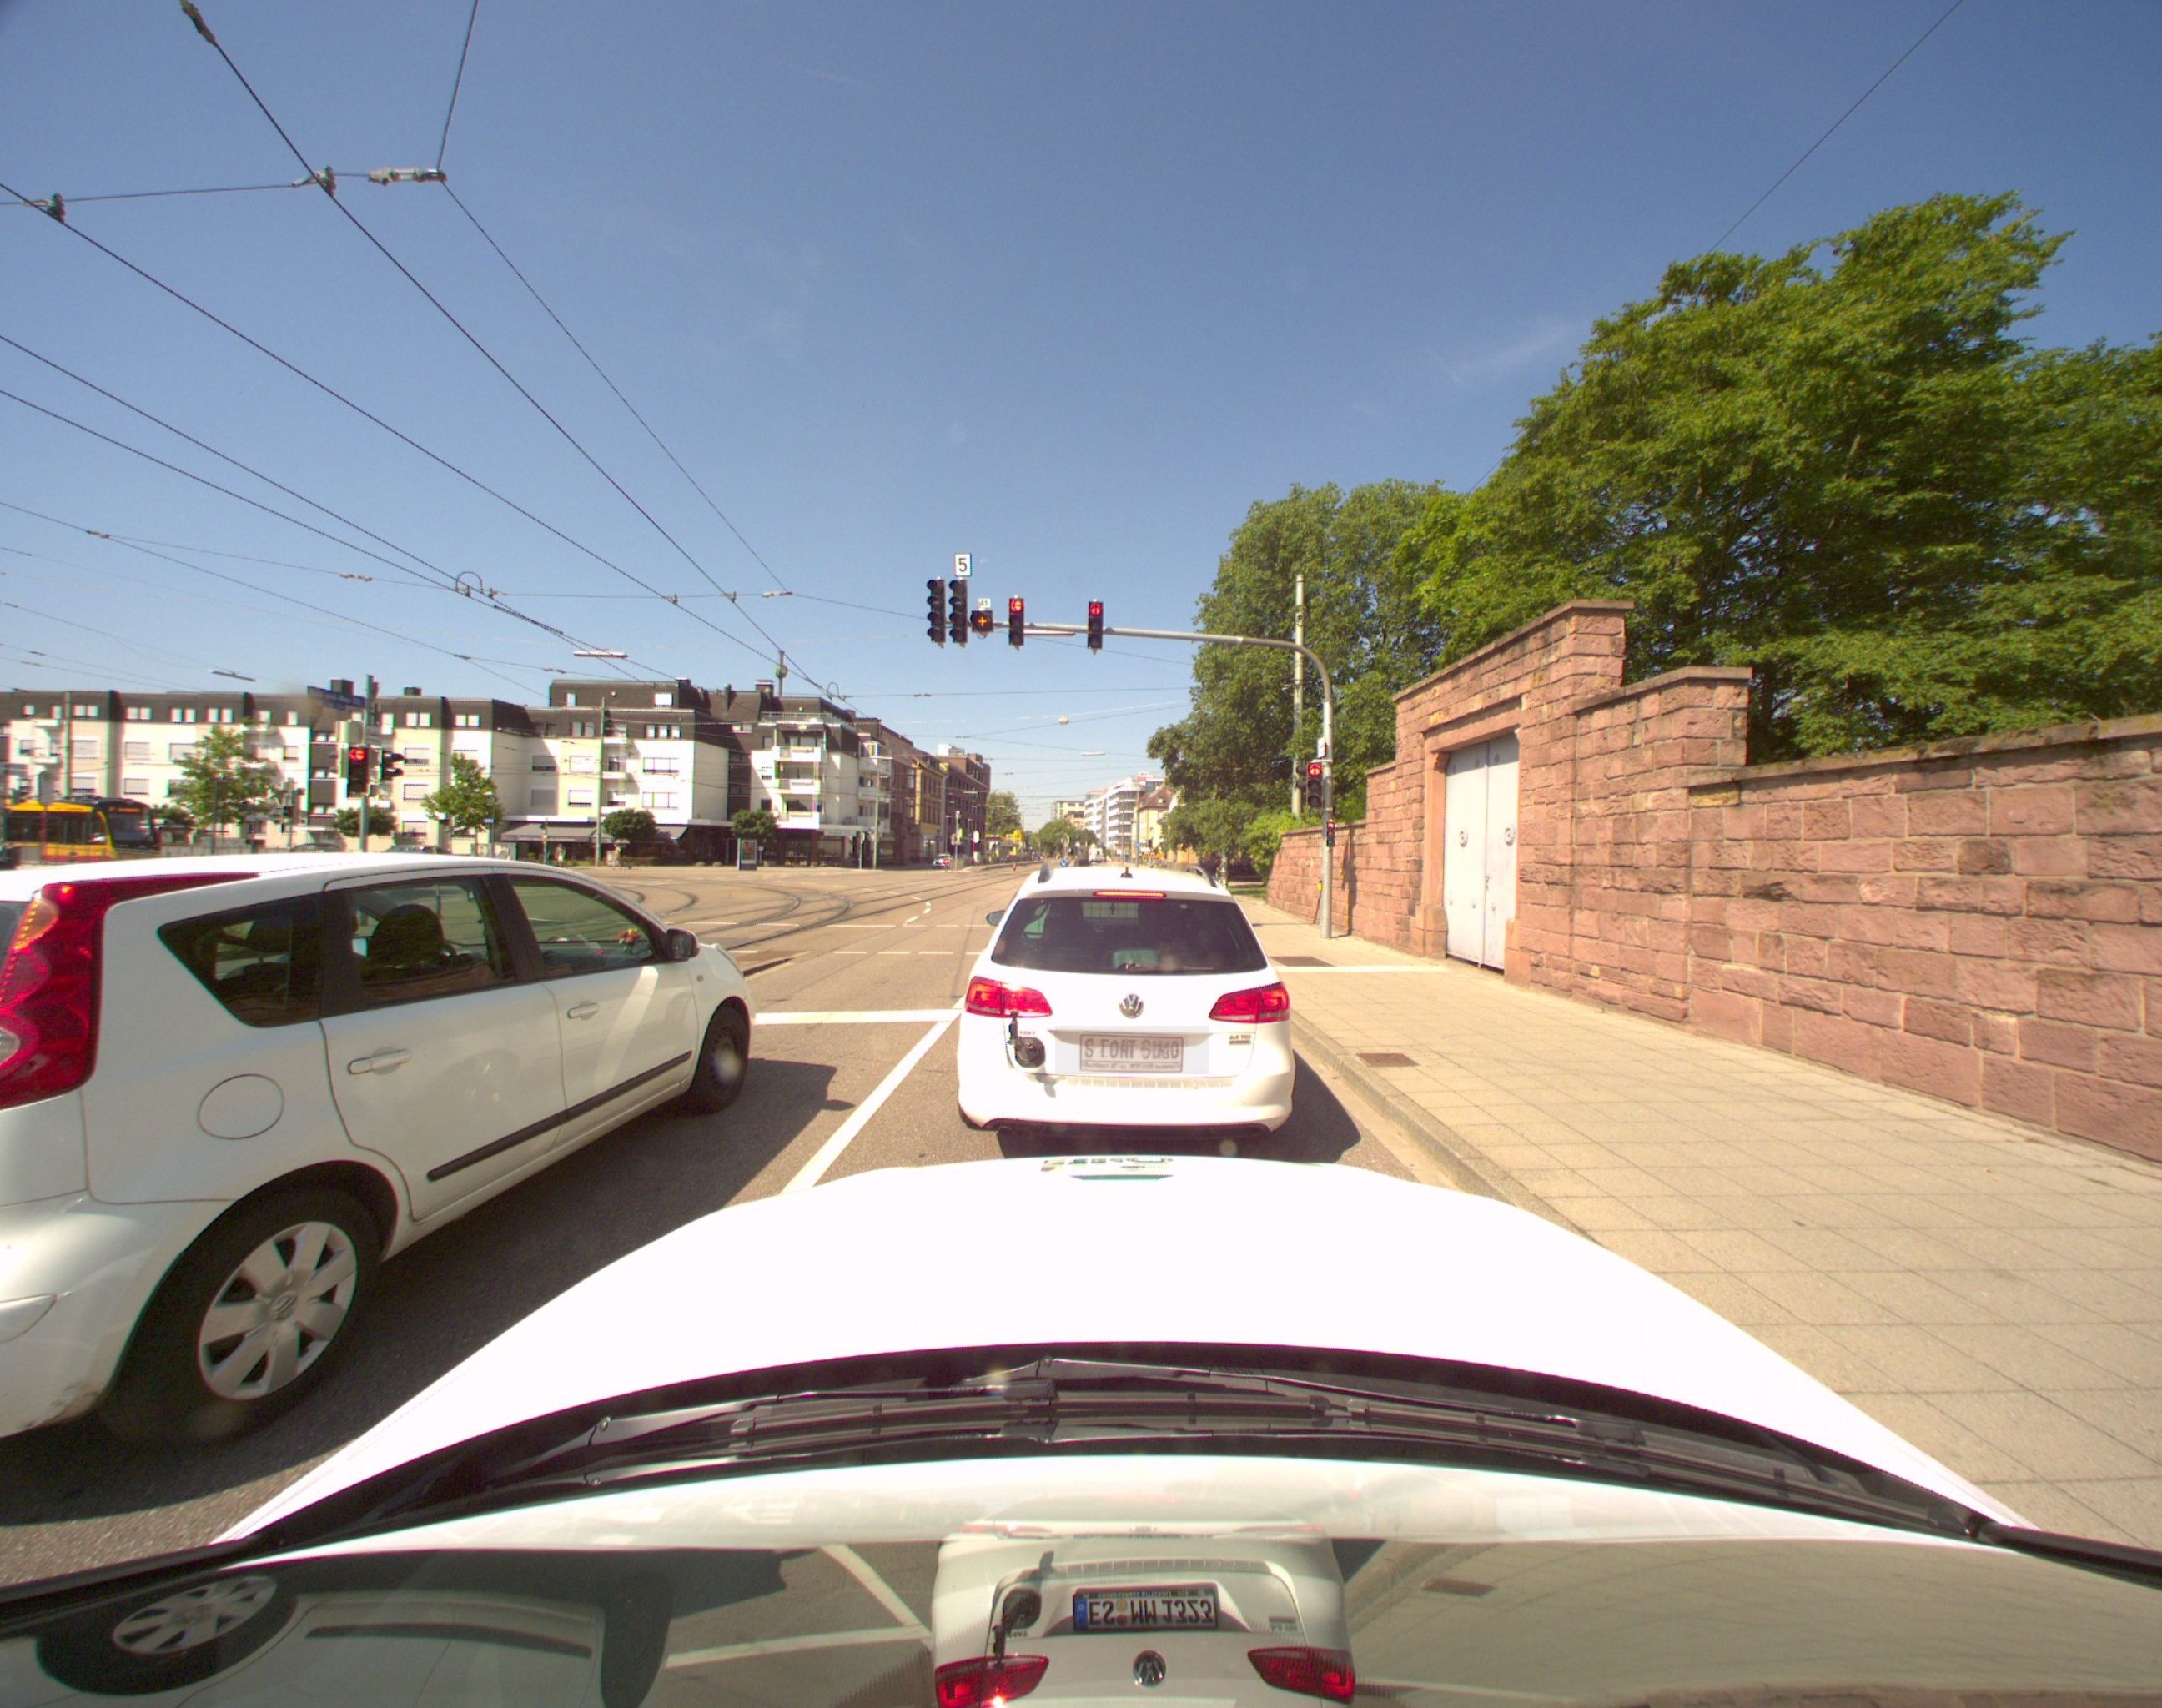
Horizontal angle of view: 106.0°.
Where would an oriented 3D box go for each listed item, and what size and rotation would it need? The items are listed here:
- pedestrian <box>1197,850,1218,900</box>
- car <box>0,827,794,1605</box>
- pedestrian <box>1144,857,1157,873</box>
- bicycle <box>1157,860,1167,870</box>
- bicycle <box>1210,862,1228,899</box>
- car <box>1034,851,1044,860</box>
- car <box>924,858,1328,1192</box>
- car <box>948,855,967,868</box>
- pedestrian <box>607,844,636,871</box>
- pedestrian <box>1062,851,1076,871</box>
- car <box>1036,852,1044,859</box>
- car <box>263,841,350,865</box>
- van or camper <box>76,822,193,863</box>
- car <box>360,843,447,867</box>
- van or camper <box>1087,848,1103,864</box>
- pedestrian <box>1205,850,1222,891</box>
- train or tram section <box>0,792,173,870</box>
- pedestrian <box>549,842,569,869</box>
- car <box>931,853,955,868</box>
[{"bbox_3d":[4.014,0.660,25.825,0.538,1.549,0.663,-1,0,1],"label":"pedestrian"},{"bbox_3d":[-2.956,0.735,3.685,1.759,1.561,4.068,0,0,2],"label":"car"},{"bbox_3d":[6.337,1.005,74.509,0.847,1.510,0.786,1,-1,37],"label":"pedestrian"},{"bbox_3d":[8.967,1.202,90.266,0.720,1.139,2.203,1,0,14],"label":"bicycle"},{"bbox_3d":[4.403,0.828,25.900,0.532,1.111,1.812,0,-1,11],"label":"bicycle"},{"bbox_3d":[-9.886,0.297,192.667,1.987,2.014,3.999,0,-1,0],"label":"car"},{"bbox_3d":[0.260,0.756,5.493,1.746,1.418,3.854,1,0,2],"label":"car"},{"bbox_3d":[-13.373,0.807,88.628,1.568,1.459,3.811,1,0,-2],"label":"car"},{"bbox_3d":[-31.884,0.224,56.480,1.108,1.836,1.448,0,0,39],"label":"pedestrian"},{"bbox_3d":[-1.064,0.604,72.384,0.833,1.809,0.824,1,-1,-37],"label":"pedestrian"},{"bbox_3d":[-11.377,0.370,228.554,1.987,2.014,3.999,0,-1,0],"label":"car"},{"bbox_3d":[-51.210,-0.081,53.923,3.973,1.500,1.828,1,0,0],"label":"car"},{"bbox_3d":[-62.661,-0.753,53.998,4.859,2.624,2.376,1,0,0],"label":"van or camper"},{"bbox_3d":[-44.943,0.066,54.077,4.158,1.500,1.828,1,0,0],"label":"car"},{"bbox_3d":[2.830,0.449,166.144,2.936,3.180,6.609,1,0,-1],"label":"van or camper"},{"bbox_3d":[5.538,0.687,34.077,0.646,1.682,0.709,1,0,8],"label":"pedestrian"},{"bbox_3d":[-53.606,-1.168,40.478,13.814,3.658,2.769,1,0,1],"label":"train or tram section"},{"bbox_3d":[-34.257,0.109,53.471,0.754,1.760,0.816,1,0,24],"label":"pedestrian"},{"bbox_3d":[-13.707,0.637,80.878,1.620,1.431,3.962,2,0,0],"label":"car"}]
